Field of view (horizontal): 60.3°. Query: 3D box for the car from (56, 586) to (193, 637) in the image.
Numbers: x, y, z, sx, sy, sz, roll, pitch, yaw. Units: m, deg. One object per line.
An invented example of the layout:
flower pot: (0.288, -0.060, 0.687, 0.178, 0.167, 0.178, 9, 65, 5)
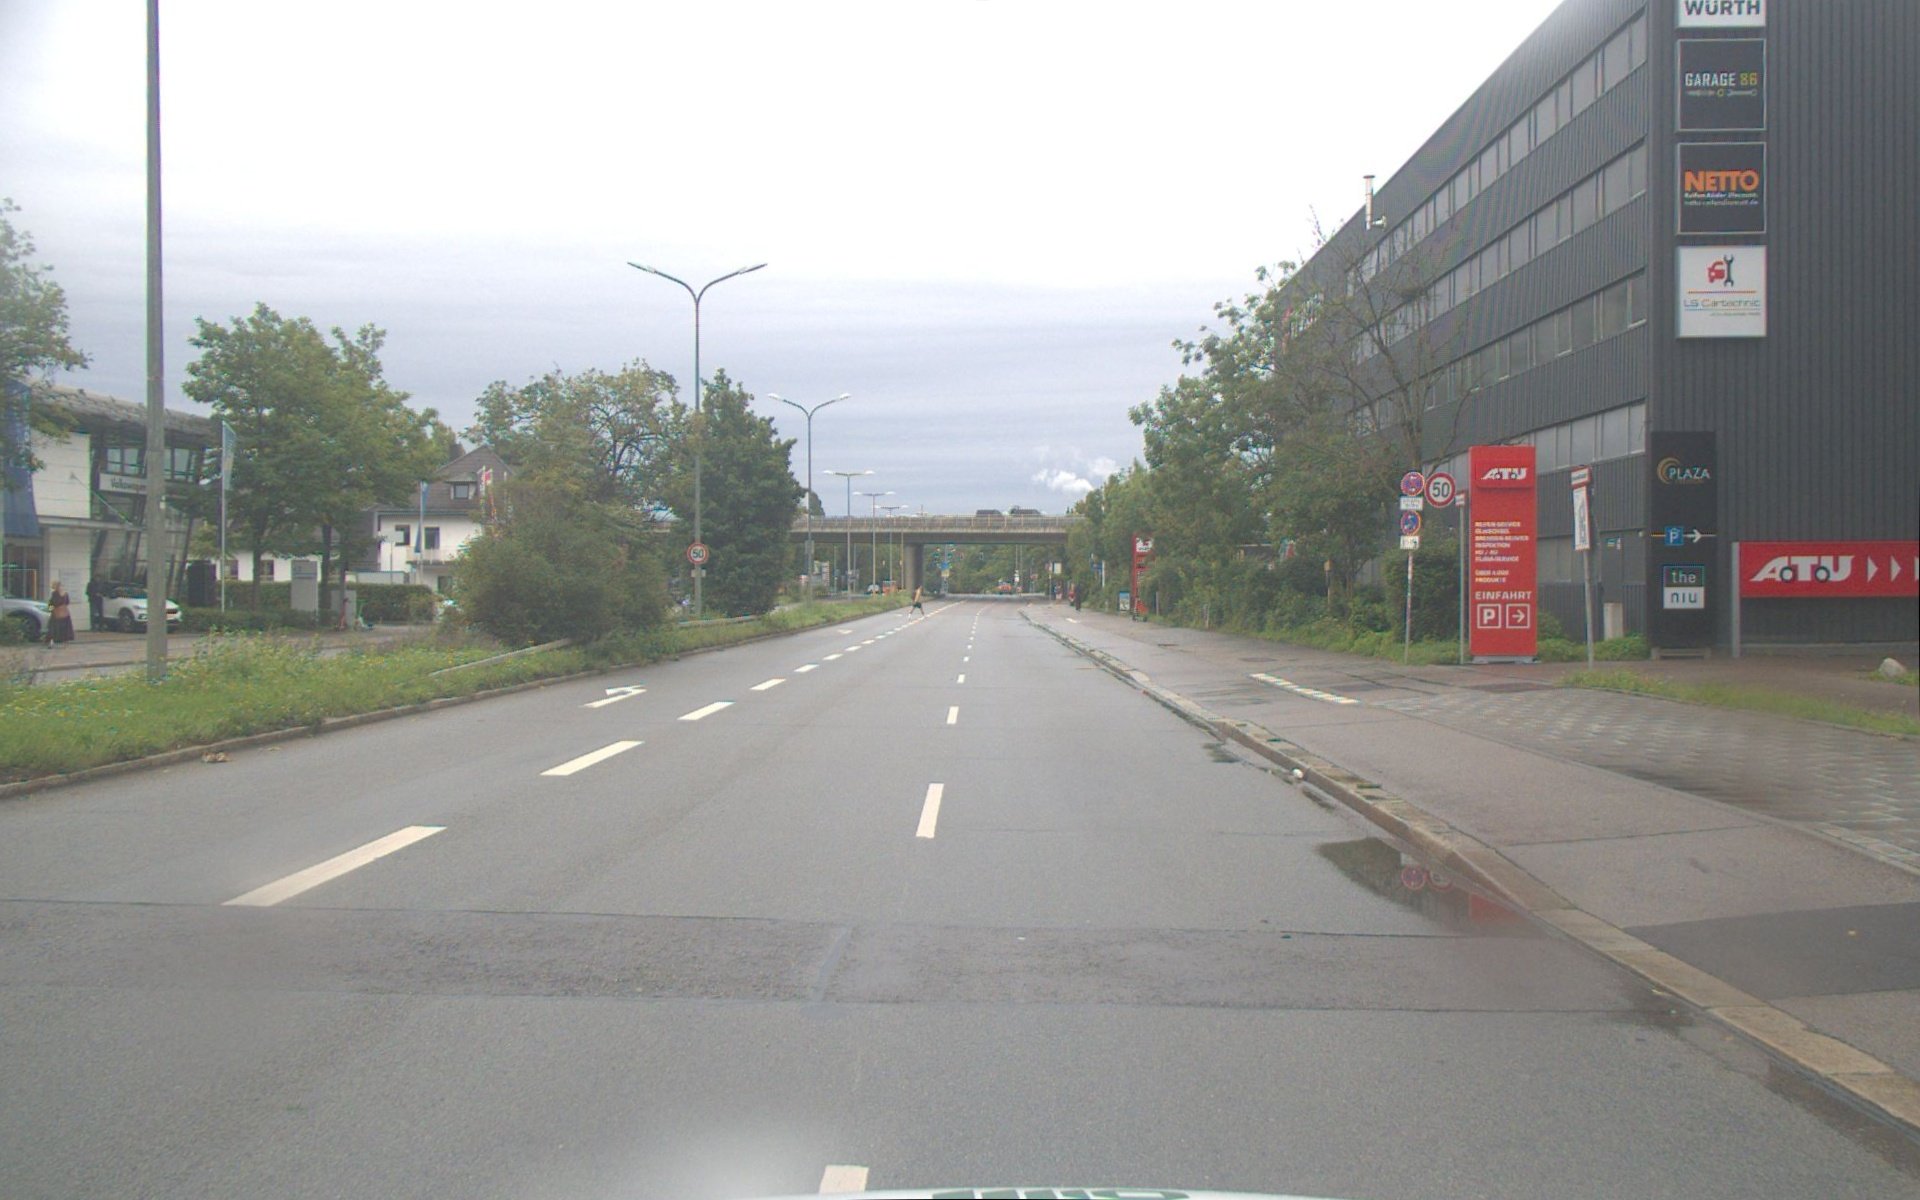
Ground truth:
car: (-26.906, 0.368, 53.261, 3.905, 1.535, 1.801, -1, 0, 22)

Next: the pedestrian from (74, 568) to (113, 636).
pedestrian: (-26.887, 0.055, 51.327, 0.699, 2.049, 0.880, -1, 0, 0)

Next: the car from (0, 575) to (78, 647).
car: (-26.452, 0.324, 44.509, 4.568, 1.874, 1.789, -2, 0, -23)

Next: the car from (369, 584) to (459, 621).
car: (-27.853, 0.102, 84.490, 4.068, 1.738, 1.844, -2, 0, -12)

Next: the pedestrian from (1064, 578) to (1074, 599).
pedestrian: (8.846, -0.955, 134.191, 0.674, 1.645, 0.662, -2, 0, 0)

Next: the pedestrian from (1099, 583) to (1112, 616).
pedestrian: (8.702, -0.029, 99.133, 0.674, 1.909, 0.662, -1, 0, 0)

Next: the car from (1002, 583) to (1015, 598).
car: (6.972, -1.329, 236.266, 1.774, 2.049, 3.835, 1, 0, 2)

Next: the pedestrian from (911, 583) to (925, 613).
pedestrian: (-2.322, -0.119, 90.765, 0.646, 1.645, 0.691, -1, 0, 6)

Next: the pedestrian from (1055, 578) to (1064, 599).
pedestrian: (7.917, -0.934, 131.925, 0.674, 1.645, 0.662, -2, 0, 0)

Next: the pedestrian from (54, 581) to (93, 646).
pedestrian: (-22.791, 0.346, 42.522, 0.623, 1.638, 0.621, -1, 0, 0)

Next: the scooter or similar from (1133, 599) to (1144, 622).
scooter or similar: (8.171, 0.480, 75.845, 0.298, 1.021, 1.219, -1, 0, -2)

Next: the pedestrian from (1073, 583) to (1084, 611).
pedestrian: (7.979, -0.194, 111.638, 0.674, 1.909, 0.662, -1, 0, 0)
